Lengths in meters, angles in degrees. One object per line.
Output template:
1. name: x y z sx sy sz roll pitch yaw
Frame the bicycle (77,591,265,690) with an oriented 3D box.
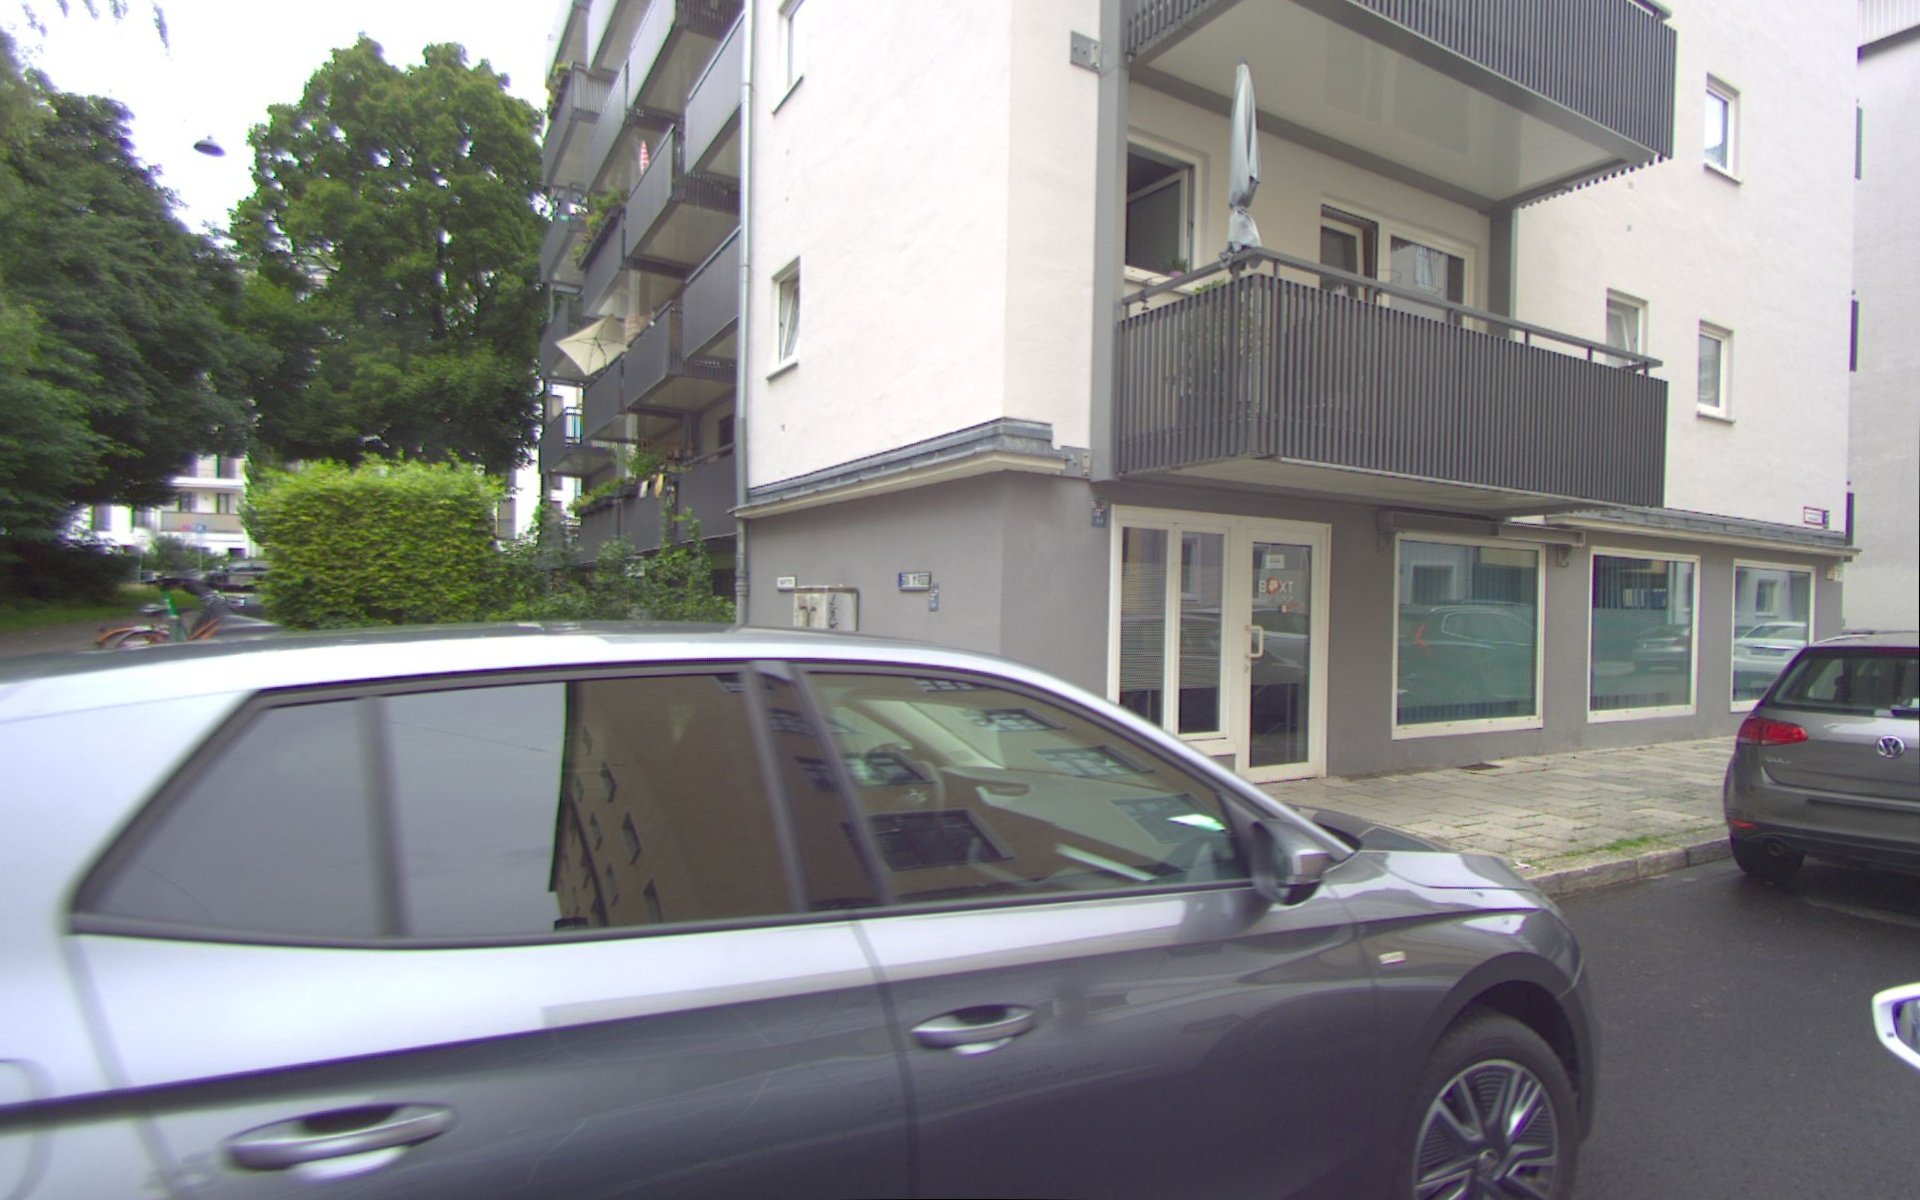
1. bicycle: -8.784 0.435 11.260 1.590 1.052 0.511 1 0 -32

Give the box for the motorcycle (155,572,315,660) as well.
1. motorcycle: -10.480 0.211 14.598 1.797 1.214 0.539 -1 2 -29

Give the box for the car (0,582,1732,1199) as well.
1. car: -0.086 0.752 2.375 3.895 1.461 1.685 1 -1 -30

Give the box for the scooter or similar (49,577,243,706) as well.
1. scooter or similar: -8.185 0.415 10.137 1.518 1.261 0.345 0 0 -12

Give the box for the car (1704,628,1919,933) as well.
1. car: 6.269 0.911 5.946 3.933 1.461 1.684 1 -1 -32

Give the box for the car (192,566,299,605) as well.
1. car: -33.117 -0.663 46.665 3.760 1.729 1.761 0 1 -26

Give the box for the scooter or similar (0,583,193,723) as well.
1. scooter or similar: -7.976 0.466 9.135 1.553 1.218 0.319 1 0 -32

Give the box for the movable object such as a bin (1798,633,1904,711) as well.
1. movable object such as a bin: 16.181 1.285 18.262 0.980 1.354 1.154 1 -2 -27

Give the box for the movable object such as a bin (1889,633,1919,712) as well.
1. movable object such as a bin: 16.981 1.241 17.289 1.012 1.354 1.162 1 -2 -27

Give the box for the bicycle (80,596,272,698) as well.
1. bicycle: -8.464 0.490 10.914 1.590 1.052 0.421 1 0 -32

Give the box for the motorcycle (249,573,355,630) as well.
1. motorcycle: -14.085 0.014 21.542 0.535 1.161 1.810 1 2 41
